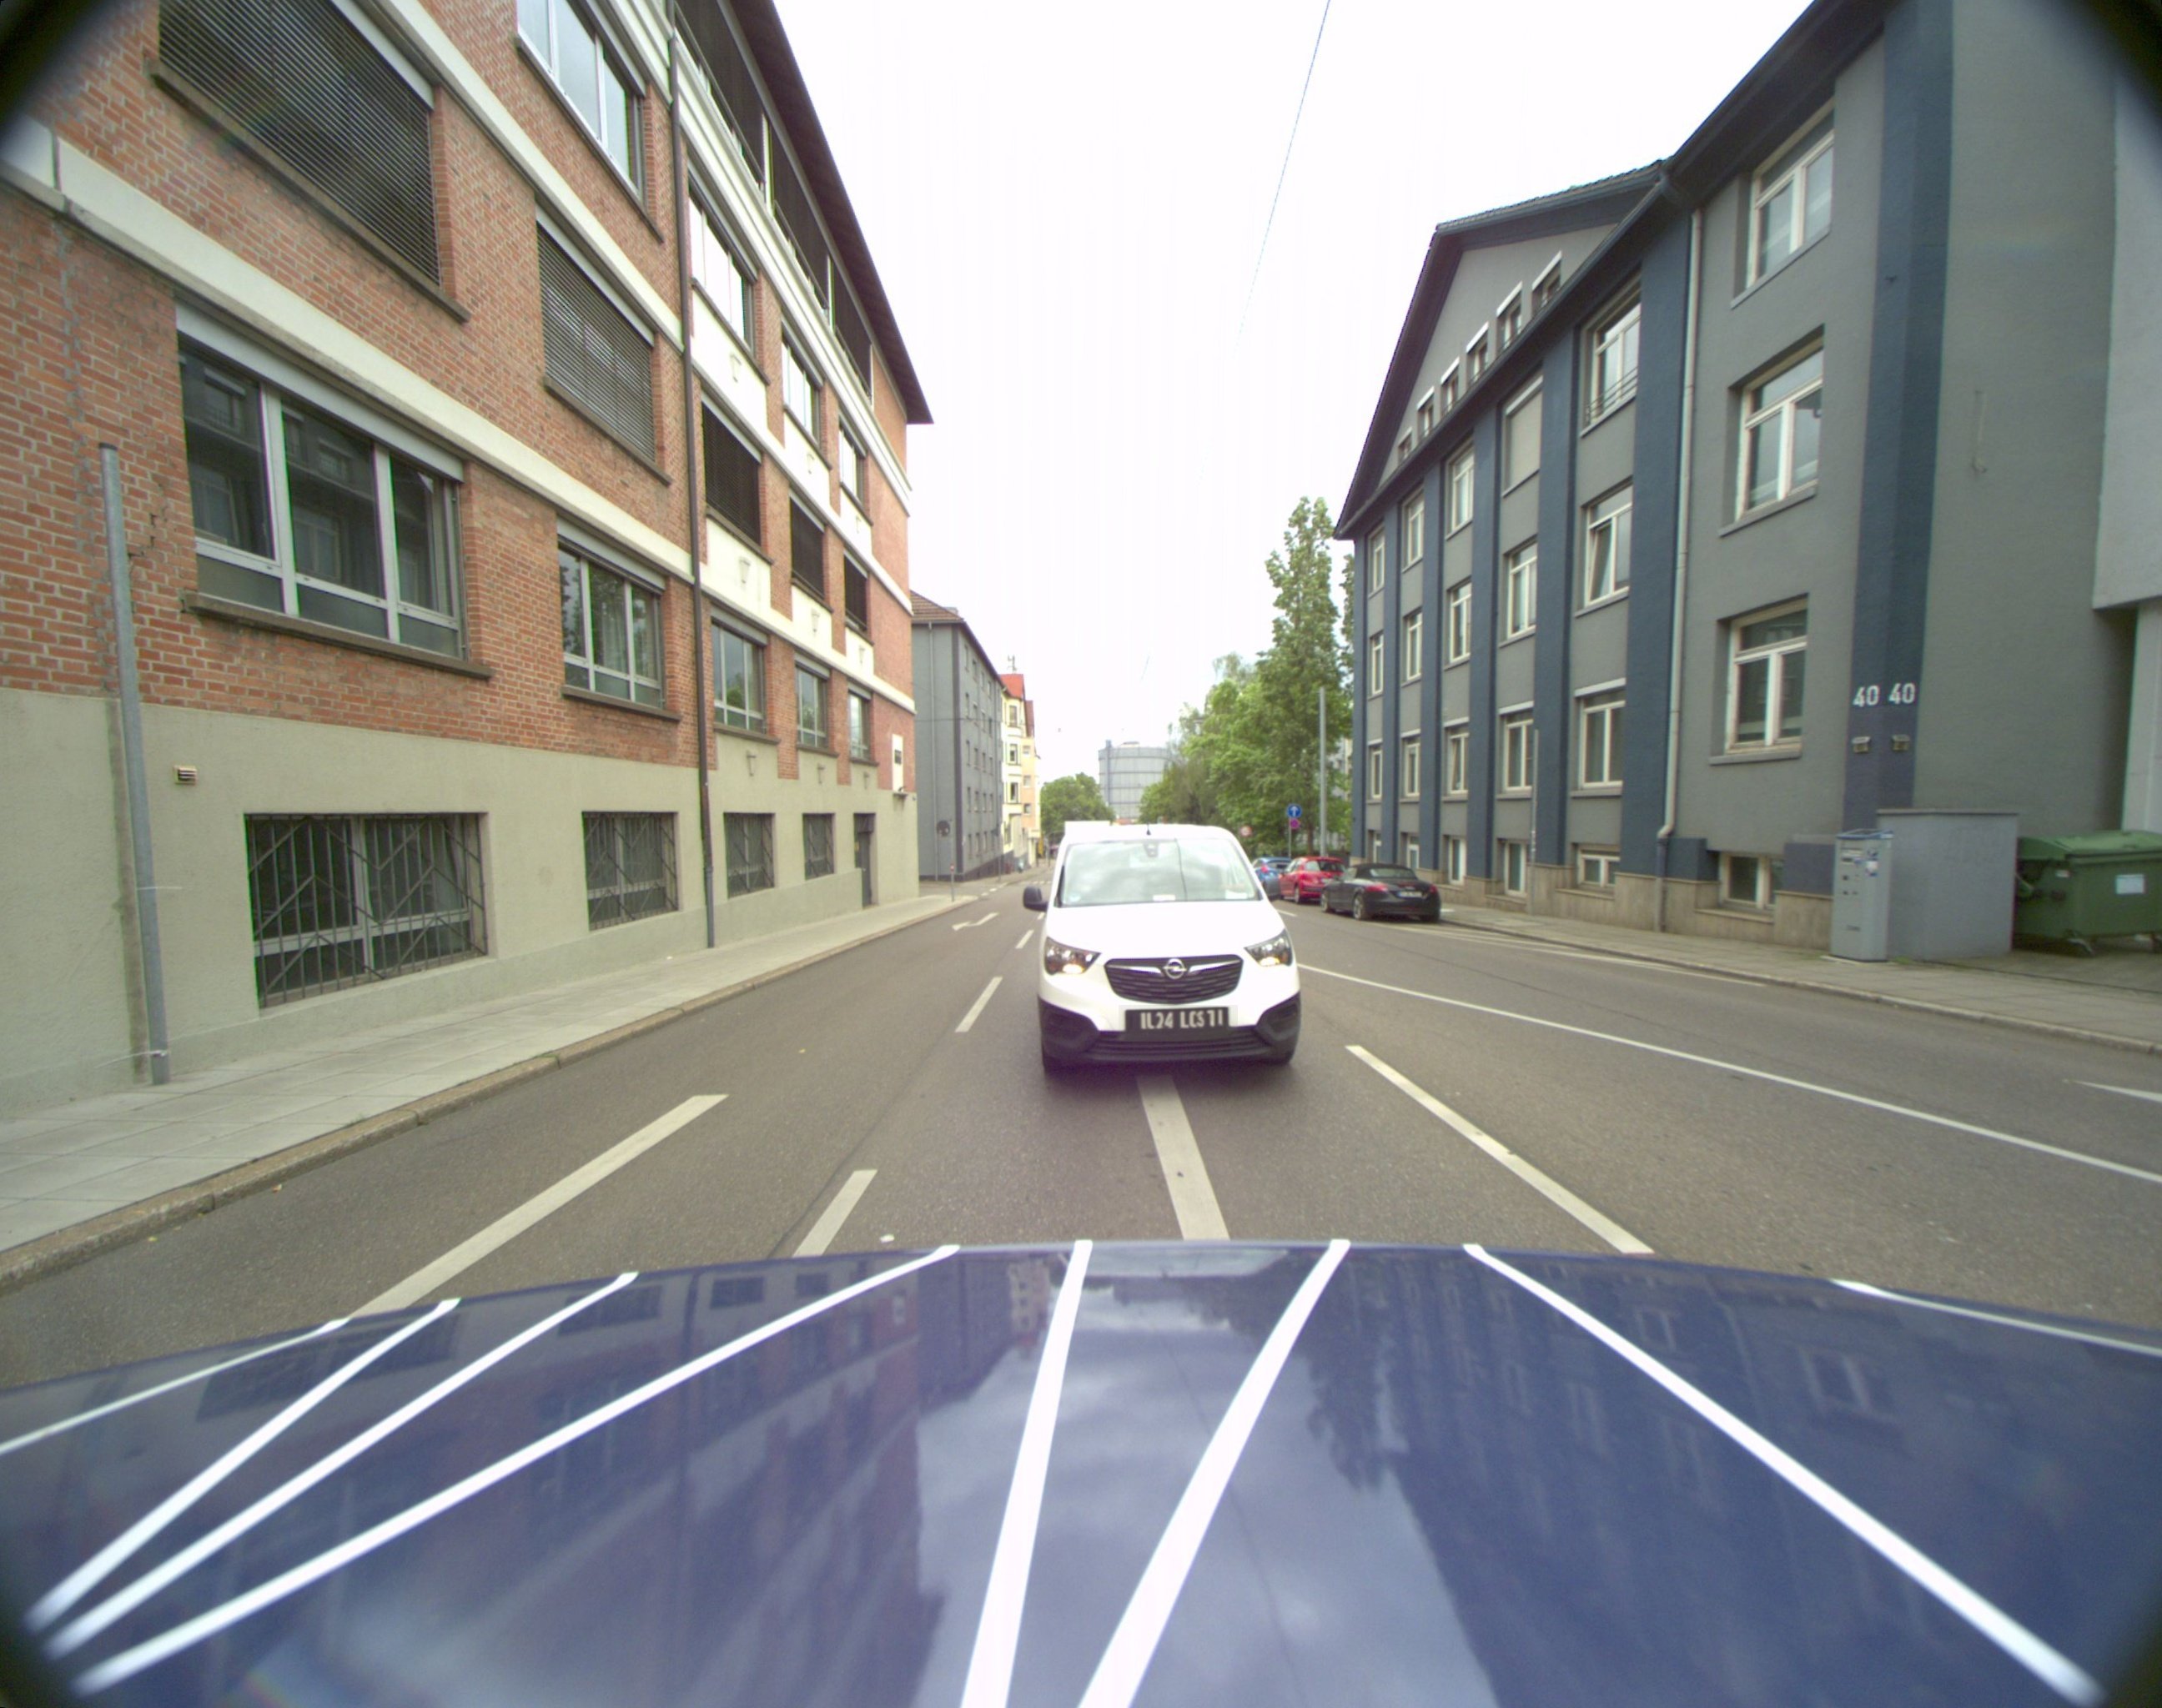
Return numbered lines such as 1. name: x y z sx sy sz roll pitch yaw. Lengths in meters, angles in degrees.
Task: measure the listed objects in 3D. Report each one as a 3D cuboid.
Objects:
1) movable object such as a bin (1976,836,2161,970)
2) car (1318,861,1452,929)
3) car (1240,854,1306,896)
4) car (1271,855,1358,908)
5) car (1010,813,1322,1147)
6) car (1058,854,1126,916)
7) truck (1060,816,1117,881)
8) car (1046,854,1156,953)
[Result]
1. movable object such as a bin: 12.082 0.553 9.204 1.229 1.498 1.040 -2 1 1
2. car: 7.233 0.914 18.502 1.801 1.384 3.729 0 1 1
3. car: 7.466 0.793 29.837 1.644 1.441 3.729 -2 1 1
4. car: 7.385 0.824 24.355 1.644 1.441 3.729 -2 1 1
5. car: 0.520 0.712 6.399 1.739 1.875 3.999 -2 1 1
6. car: 0.314 0.814 21.896 1.739 1.519 3.999 -2 1 1
7. truck: 0.474 -0.334 45.591 2.969 3.409 8.879 -2 1 1
8. car: 0.352 0.805 14.404 1.739 1.519 3.999 -2 1 1
